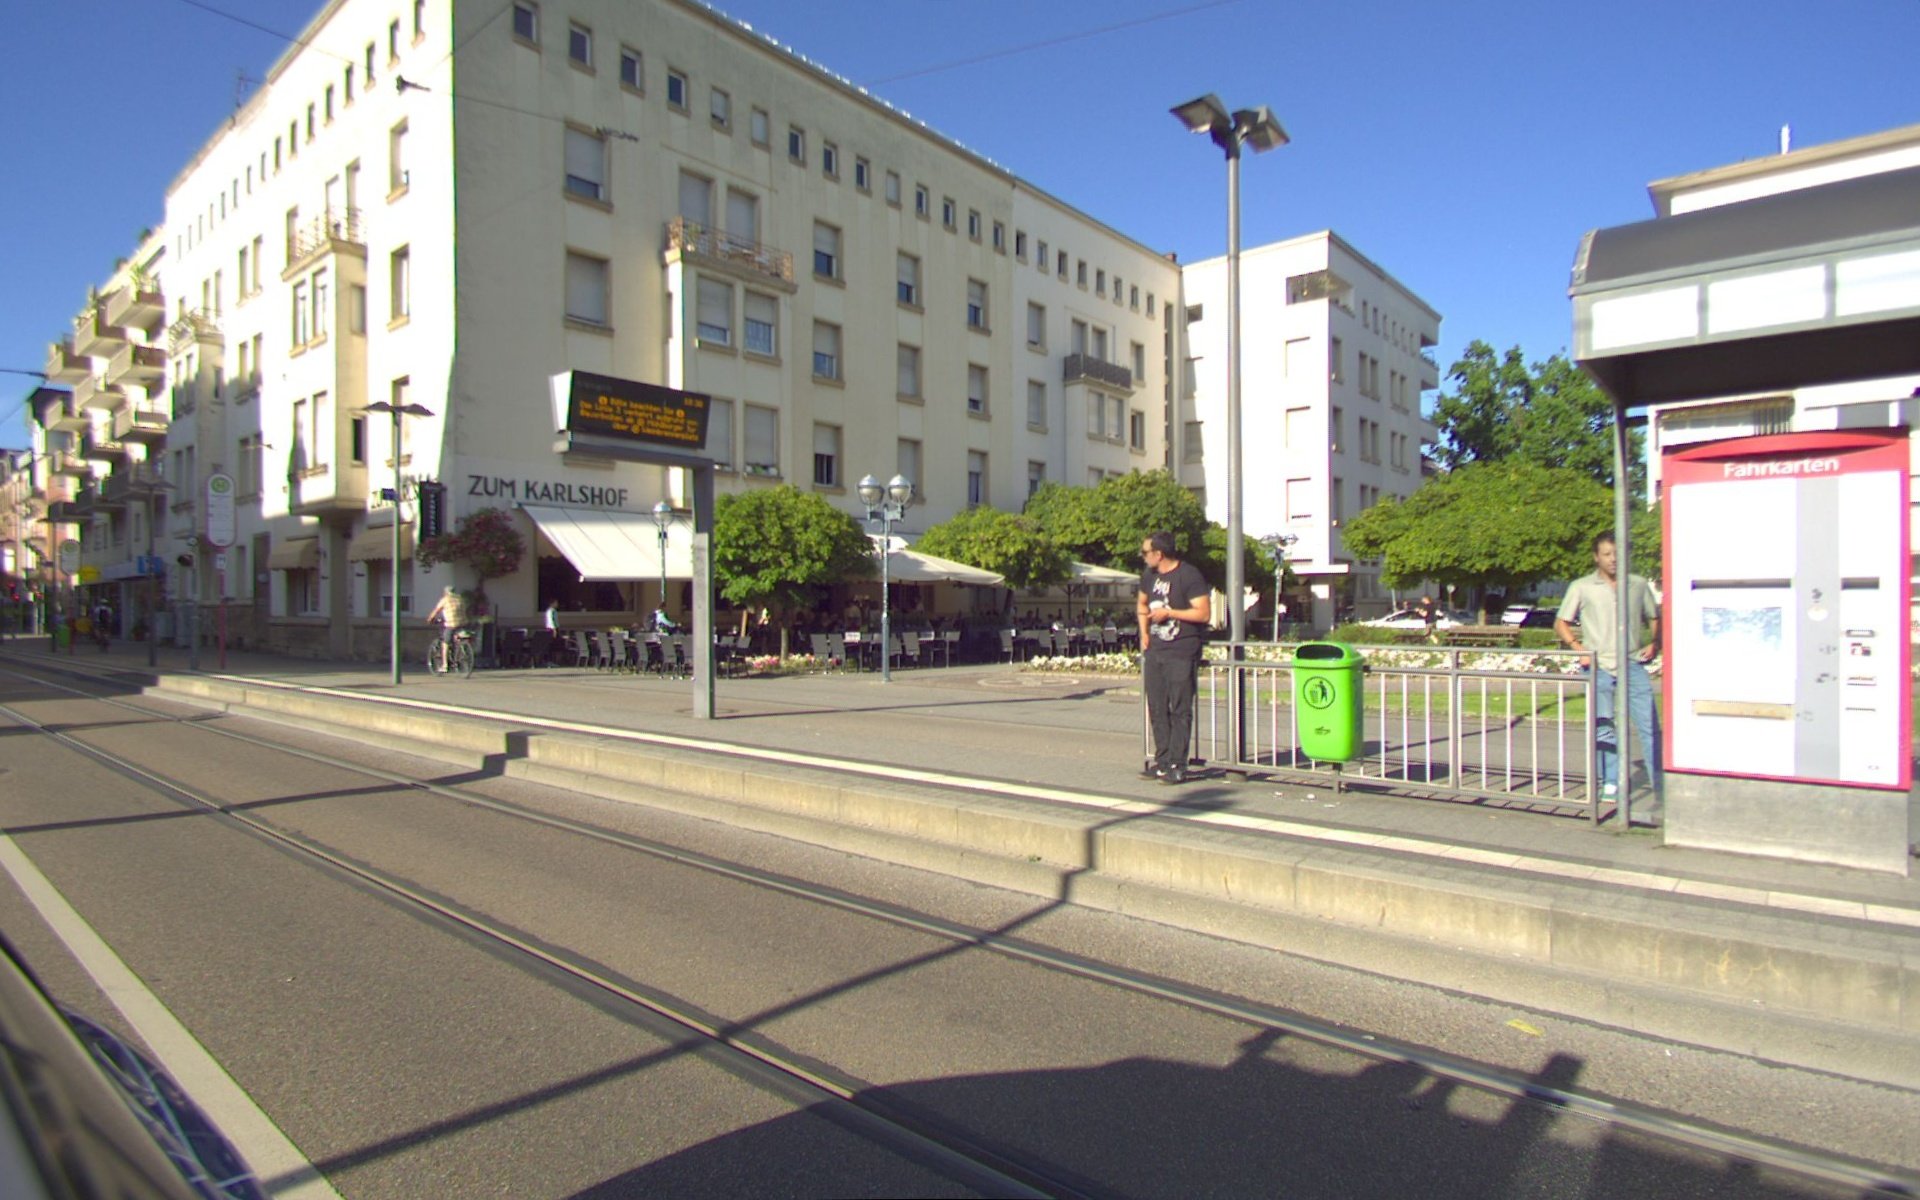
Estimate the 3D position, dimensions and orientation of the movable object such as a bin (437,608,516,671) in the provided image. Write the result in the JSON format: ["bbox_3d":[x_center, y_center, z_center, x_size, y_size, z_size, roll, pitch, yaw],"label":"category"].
[{"bbox_3d":[-11.170,0.891,23.382,1.127,1.410,1.302,-1,-1,40],"label":"movable object such as a bin"}]

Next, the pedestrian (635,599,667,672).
[{"bbox_3d":[-7.154,0.838,23.450,0.662,1.657,0.679,-1,-4,-19],"label":"pedestrian"}]

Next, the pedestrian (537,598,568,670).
[{"bbox_3d":[-9.655,0.808,23.984,0.662,1.657,0.753,0,-4,-22],"label":"pedestrian"}]

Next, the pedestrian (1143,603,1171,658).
[{"bbox_3d":[6.435,1.003,33.058,0.710,1.750,0.673,-2,-4,1],"label":"pedestrian"}]

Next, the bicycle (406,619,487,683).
[{"bbox_3d":[-9.558,0.918,18.795,1.977,1.121,0.720,-1,0,43],"label":"bicycle"}]

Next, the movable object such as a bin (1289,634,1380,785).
[{"bbox_3d":[2.280,0.648,6.159,0.416,0.866,0.332,-1,-1,44],"label":"movable object such as a bin"}]

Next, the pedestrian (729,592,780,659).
[{"bbox_3d":[-5.292,0.673,26.085,0.755,1.657,1.054,-4,-4,36],"label":"pedestrian"}]

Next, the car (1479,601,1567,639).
[{"bbox_3d":[23.025,0.806,41.447,2.932,1.497,1.399,-1,-1,41],"label":"car"}]

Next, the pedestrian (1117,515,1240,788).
[{"bbox_3d":[1.477,0.337,6.835,0.607,1.731,0.542,-1,-3,43],"label":"pedestrian"}]

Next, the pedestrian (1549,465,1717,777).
[{"bbox_3d":[4.173,0.136,6.287,0.769,1.788,0.608,-1,-4,43],"label":"pedestrian"}]

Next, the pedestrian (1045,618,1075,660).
[{"bbox_3d":[3.125,1.212,31.625,0.672,1.280,0.636,-4,-4,36],"label":"pedestrian"}]

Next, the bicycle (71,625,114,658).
[{"bbox_3d":[-30.735,1.454,35.849,2.032,1.134,0.705,-1,-1,36],"label":"bicycle"}]

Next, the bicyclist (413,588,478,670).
[{"bbox_3d":[-9.550,0.514,18.786,0.877,1.466,0.818,0,0,43],"label":"bicyclist"}]

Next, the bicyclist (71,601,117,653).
[{"bbox_3d":[-30.685,0.949,35.859,1.093,1.807,0.995,-1,-1,35],"label":"bicyclist"}]

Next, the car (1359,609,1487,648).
[{"bbox_3d":[16.388,0.987,35.886,3.713,1.310,1.973,-1,-1,41],"label":"car"}]

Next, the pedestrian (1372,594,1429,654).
[{"bbox_3d":[13.391,0.717,30.781,1.063,1.801,1.180,0,-1,-15],"label":"pedestrian"}]

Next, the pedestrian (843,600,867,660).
[{"bbox_3d":[-3.228,0.918,31.262,0.640,1.837,0.576,-1,-1,5],"label":"pedestrian"}]

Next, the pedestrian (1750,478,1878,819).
[{"bbox_3d":[4.966,0.273,5.891,0.526,1.873,0.423,-1,-4,44],"label":"pedestrian"}]

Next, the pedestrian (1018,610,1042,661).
[{"bbox_3d":[2.479,1.271,35.896,0.677,1.750,0.671,-3,-4,14],"label":"pedestrian"}]
